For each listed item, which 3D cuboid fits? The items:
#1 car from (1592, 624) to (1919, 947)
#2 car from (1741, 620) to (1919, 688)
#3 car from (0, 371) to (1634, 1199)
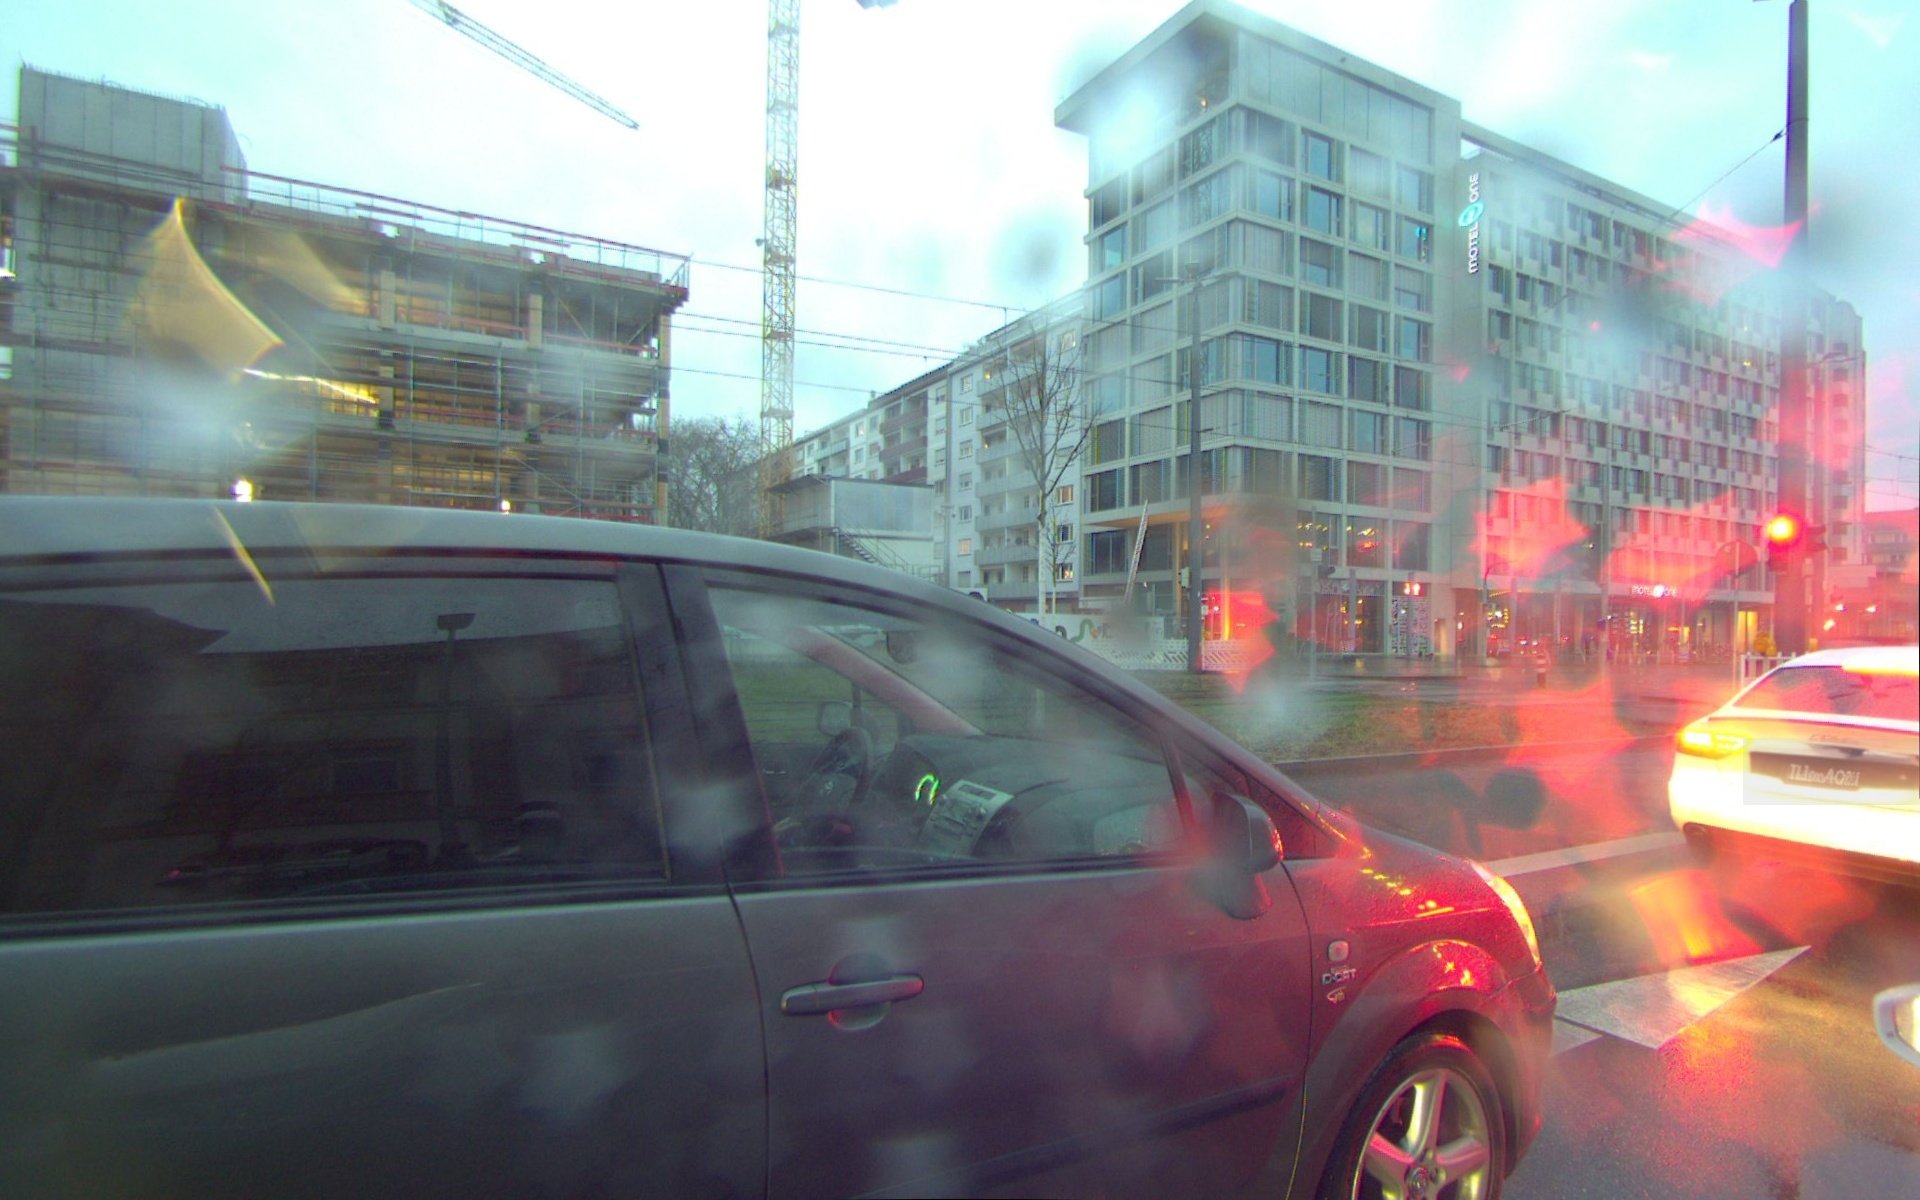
[{"bbox_3d":[6.082,0.926,6.243,4.320,1.475,1.983,1,0,-32],"label":"car"},{"bbox_3d":[22.703,1.350,25.940,1.610,1.497,3.668,2,0,-32],"label":"car"},{"bbox_3d":[-0.545,0.650,2.149,4.089,1.668,1.801,1,0,-32],"label":"car"}]
